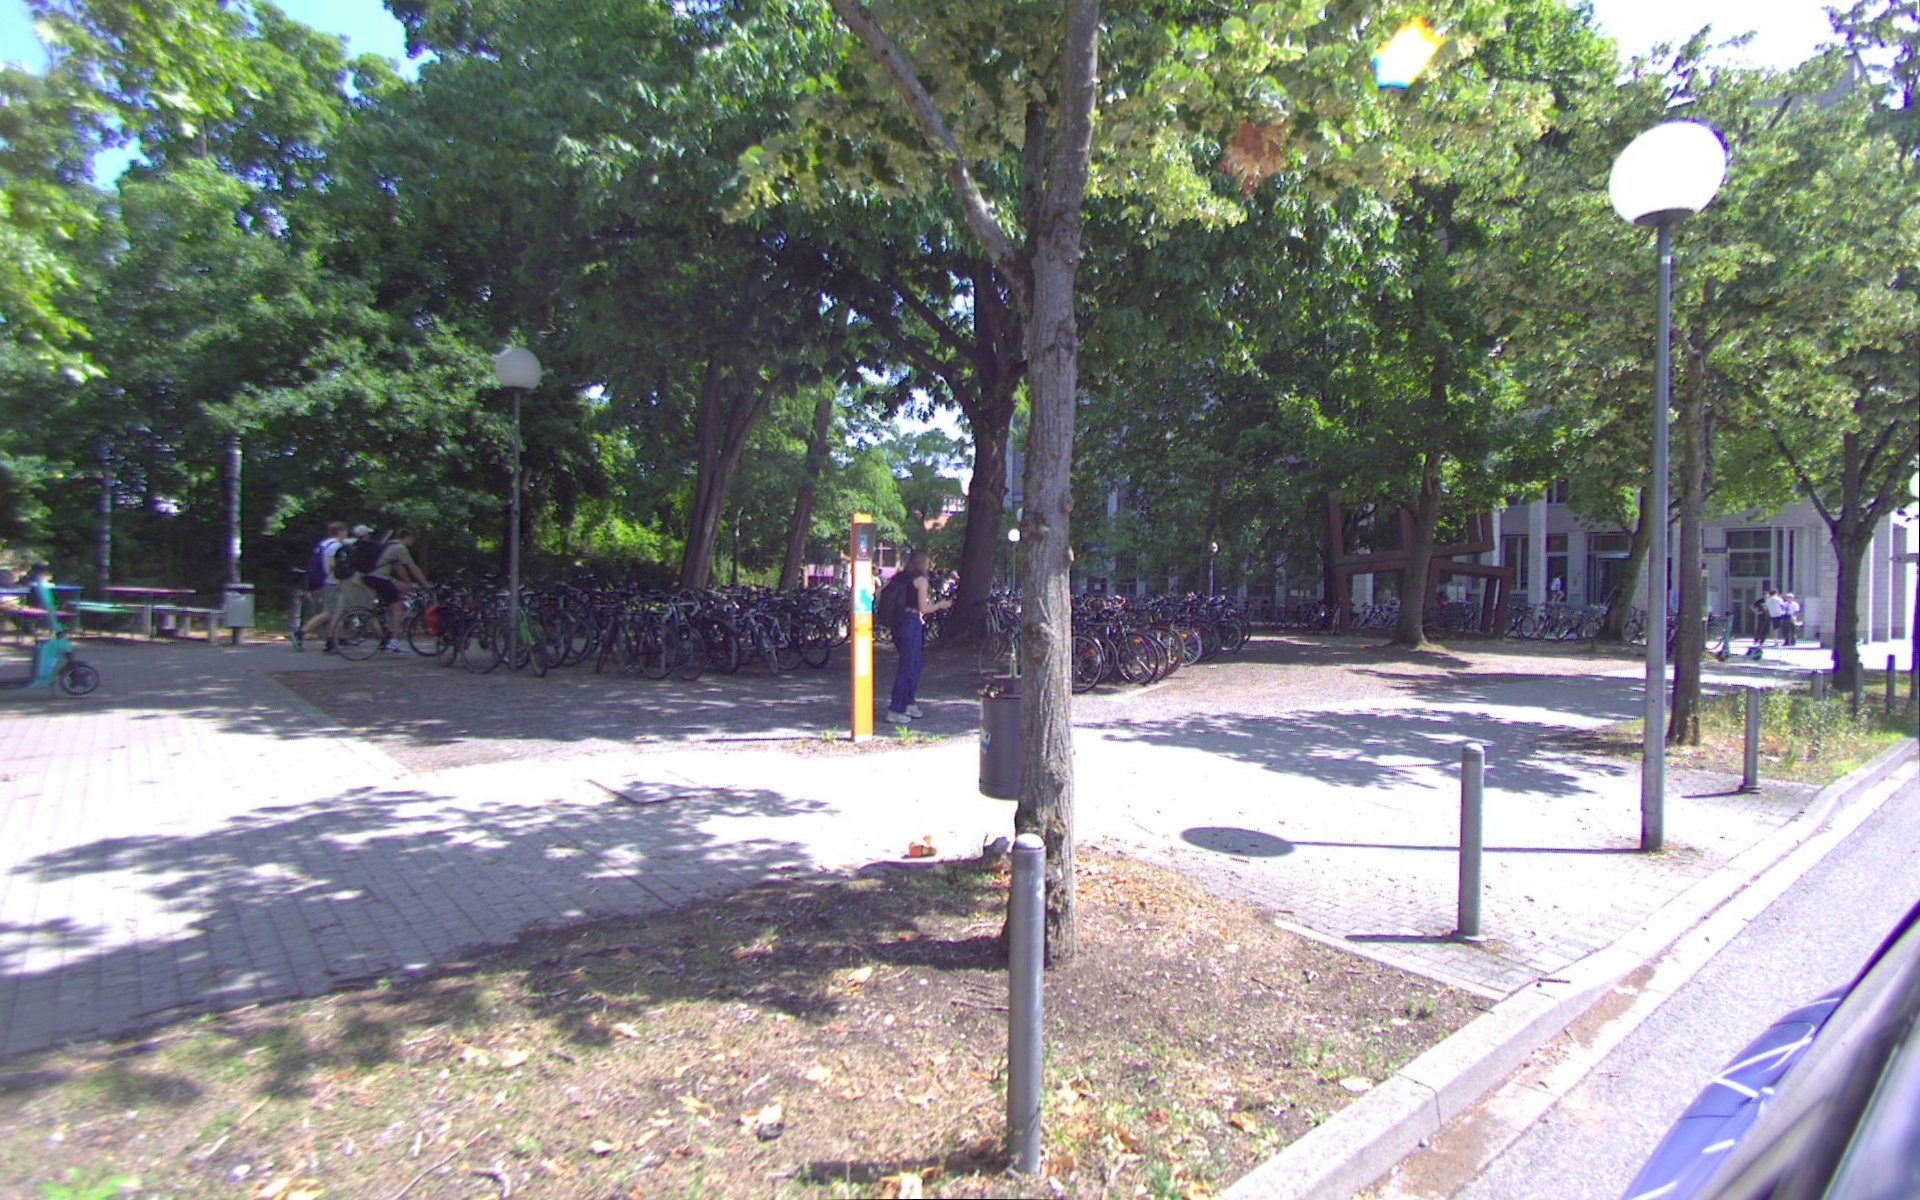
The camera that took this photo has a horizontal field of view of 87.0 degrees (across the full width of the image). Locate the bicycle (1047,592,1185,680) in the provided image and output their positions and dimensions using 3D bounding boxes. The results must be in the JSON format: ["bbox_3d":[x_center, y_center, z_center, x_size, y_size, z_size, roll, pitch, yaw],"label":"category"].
[{"bbox_3d":[2.131,0.468,14.029,1.940,1.096,0.399,2,1,38],"label":"bicycle"}]

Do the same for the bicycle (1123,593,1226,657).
[{"bbox_3d":[3.769,0.427,17.818,1.712,1.065,0.492,2,0,13],"label":"bicycle"}]

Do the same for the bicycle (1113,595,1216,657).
[{"bbox_3d":[3.700,0.450,18.333,1.773,1.041,0.438,2,0,18],"label":"bicycle"}]

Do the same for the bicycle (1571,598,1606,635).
[{"bbox_3d":[19.519,0.519,31.416,1.447,1.099,0.460,3,1,-40],"label":"bicycle"}]

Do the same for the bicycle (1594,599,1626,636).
[{"bbox_3d":[20.094,0.542,31.292,1.416,1.099,0.460,3,1,-44],"label":"bicycle"}]

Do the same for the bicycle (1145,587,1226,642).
[{"bbox_3d":[5.122,0.311,23.020,1.768,1.185,0.401,2,0,16],"label":"bicycle"}]

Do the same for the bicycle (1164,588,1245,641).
[{"bbox_3d":[5.778,0.333,23.929,1.819,1.185,0.401,2,0,16],"label":"bicycle"}]

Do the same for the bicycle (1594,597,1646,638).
[{"bbox_3d":[19.919,0.537,30.552,1.494,1.155,0.493,3,1,-21],"label":"bicycle"}]

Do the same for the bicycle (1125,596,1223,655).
[{"bbox_3d":[4.048,0.465,19.169,1.769,1.041,0.380,2,0,18],"label":"bicycle"}]

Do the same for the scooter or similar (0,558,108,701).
[{"bbox_3d":[-8.403,0.250,8.991,1.271,1.234,0.425,0,1,-41],"label":"scooter or similar"}]

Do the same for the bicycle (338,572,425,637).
[{"bbox_3d":[-10.316,0.061,18.026,1.944,1.052,0.430,3,2,31],"label":"bicycle"}]

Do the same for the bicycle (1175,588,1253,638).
[{"bbox_3d":[6.293,0.323,25.069,1.811,1.185,0.345,2,0,2],"label":"bicycle"}]

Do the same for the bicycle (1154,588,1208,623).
[{"bbox_3d":[7.925,0.189,36.295,1.812,1.185,0.345,2,0,5],"label":"bicycle"}]

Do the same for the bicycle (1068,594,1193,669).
[{"bbox_3d":[2.640,0.468,15.758,1.895,1.073,0.322,2,0,27],"label":"bicycle"}]

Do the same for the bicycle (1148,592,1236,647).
[{"bbox_3d":[4.931,0.405,21.553,1.772,1.083,0.423,2,0,22],"label":"bicycle"}]

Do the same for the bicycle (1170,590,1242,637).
[{"bbox_3d":[6.456,0.342,26.629,1.817,1.185,0.344,2,0,13],"label":"bicycle"}]

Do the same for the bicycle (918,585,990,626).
[{"bbox_3d":[-0.155,0.142,26.895,1.880,0.991,0.376,2,1,20],"label":"bicycle"}]

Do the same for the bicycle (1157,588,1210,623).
[{"bbox_3d":[8.084,0.199,36.631,1.812,1.185,0.345,2,0,5],"label":"bicycle"}]

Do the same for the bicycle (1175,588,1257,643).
[{"bbox_3d":[5.866,0.344,23.227,1.768,1.185,0.401,2,0,16],"label":"bicycle"}]

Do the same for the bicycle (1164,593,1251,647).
[{"bbox_3d":[5.332,0.418,21.835,1.772,1.083,0.423,2,0,22],"label":"bicycle"}]

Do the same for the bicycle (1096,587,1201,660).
[{"bbox_3d":[3.210,0.379,17.244,1.712,1.169,0.492,2,0,13],"label":"bicycle"}]

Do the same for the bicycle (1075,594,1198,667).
[{"bbox_3d":[2.783,0.465,16.030,1.895,1.073,0.322,2,0,27],"label":"bicycle"}]

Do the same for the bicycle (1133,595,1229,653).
[{"bbox_3d":[4.246,0.452,19.479,1.769,1.041,0.379,2,0,18],"label":"bicycle"}]

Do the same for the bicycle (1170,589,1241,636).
[{"bbox_3d":[6.529,0.333,26.958,1.817,1.185,0.344,2,0,13],"label":"bicycle"}]

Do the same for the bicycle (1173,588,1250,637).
[{"bbox_3d":[6.316,0.309,25.443,1.811,1.185,0.345,2,0,2],"label":"bicycle"}]

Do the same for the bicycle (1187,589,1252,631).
[{"bbox_3d":[7.752,0.300,30.273,1.817,1.185,0.387,2,0,13],"label":"bicycle"}]

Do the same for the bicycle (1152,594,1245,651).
[{"bbox_3d":[4.779,0.438,20.296,1.770,1.083,0.424,2,0,20],"label":"bicycle"}]

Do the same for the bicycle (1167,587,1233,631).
[{"bbox_3d":[6.906,0.253,29.174,1.817,1.185,0.352,2,0,13],"label":"bicycle"}]

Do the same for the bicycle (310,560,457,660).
[{"bbox_3d":[-7.908,0.120,13.949,0.527,1.268,1.720,3,2,28],"label":"bicycle"}]

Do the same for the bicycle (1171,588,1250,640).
[{"bbox_3d":[6.074,0.330,24.596,1.819,1.185,0.344,2,0,16],"label":"bicycle"}]

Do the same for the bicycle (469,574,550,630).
[{"bbox_3d":[-9.139,0.027,20.506,1.816,1.052,0.474,3,2,29],"label":"bicycle"}]

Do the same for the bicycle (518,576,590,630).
[{"bbox_3d":[-8.479,0.045,21.103,1.737,1.052,0.344,3,1,29],"label":"bicycle"}]

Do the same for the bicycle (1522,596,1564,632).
[{"bbox_3d":[18.593,0.452,32.268,1.664,1.099,0.482,3,1,-36],"label":"bicycle"}]

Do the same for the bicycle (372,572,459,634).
[{"bbox_3d":[-10.083,0.037,18.725,1.944,1.052,0.473,3,2,31],"label":"bicycle"}]

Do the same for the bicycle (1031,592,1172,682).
[{"bbox_3d":[1.884,0.471,13.683,1.940,1.096,0.399,2,1,38],"label":"bicycle"}]

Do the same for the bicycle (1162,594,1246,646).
[{"bbox_3d":[5.403,0.427,22.464,1.767,1.083,0.425,2,0,14],"label":"bicycle"}]

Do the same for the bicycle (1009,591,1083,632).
[{"bbox_3d":[2.238,0.293,26.390,1.880,0.991,0.376,2,1,20],"label":"bicycle"}]

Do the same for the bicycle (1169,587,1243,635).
[{"bbox_3d":[6.384,0.285,26.291,1.817,1.185,0.344,2,0,13],"label":"bicycle"}]

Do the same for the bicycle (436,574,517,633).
[{"bbox_3d":[-9.402,0.049,19.668,1.768,1.052,0.474,3,2,29],"label":"bicycle"}]

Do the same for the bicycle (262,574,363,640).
[{"bbox_3d":[-10.735,0.090,16.759,1.944,0.991,0.606,3,2,31],"label":"bicycle"}]

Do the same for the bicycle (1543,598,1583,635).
[{"bbox_3d":[19.119,0.518,32.078,1.486,1.099,0.482,3,1,-36],"label":"bicycle"}]

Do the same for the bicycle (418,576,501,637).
[{"bbox_3d":[-9.235,0.102,18.666,1.768,1.052,0.430,3,1,29],"label":"bicycle"}]

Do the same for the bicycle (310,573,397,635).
[{"bbox_3d":[-10.623,0.056,17.704,1.944,0.991,0.434,3,2,31],"label":"bicycle"}]

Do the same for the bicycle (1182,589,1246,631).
[{"bbox_3d":[7.501,0.299,29.938,1.817,1.185,0.352,2,0,13],"label":"bicycle"}]

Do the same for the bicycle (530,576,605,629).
[{"bbox_3d":[-8.316,0.041,21.421,1.737,1.052,0.474,3,2,29],"label":"bicycle"}]

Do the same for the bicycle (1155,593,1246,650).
[{"bbox_3d":[4.915,0.429,20.713,1.770,1.083,0.424,2,0,20],"label":"bicycle"}]

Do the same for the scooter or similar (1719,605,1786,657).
[{"bbox_3d":[18.464,0.719,23.587,1.333,1.128,0.498,3,0,-16],"label":"scooter or similar"}]

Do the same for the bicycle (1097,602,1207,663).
[{"bbox_3d":[3.164,0.514,16.731,1.717,0.921,0.491,2,0,21],"label":"bicycle"}]

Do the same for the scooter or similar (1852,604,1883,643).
[{"bbox_3d":[30.346,0.771,33.844,1.485,1.226,0.564,0,3,-42],"label":"scooter or similar"}]

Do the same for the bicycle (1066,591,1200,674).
[{"bbox_3d":[2.476,0.437,14.646,1.940,1.096,0.399,2,1,38],"label":"bicycle"}]

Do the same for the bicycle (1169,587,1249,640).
[{"bbox_3d":[5.968,0.313,24.260,1.819,1.185,0.344,2,0,16],"label":"bicycle"}]
